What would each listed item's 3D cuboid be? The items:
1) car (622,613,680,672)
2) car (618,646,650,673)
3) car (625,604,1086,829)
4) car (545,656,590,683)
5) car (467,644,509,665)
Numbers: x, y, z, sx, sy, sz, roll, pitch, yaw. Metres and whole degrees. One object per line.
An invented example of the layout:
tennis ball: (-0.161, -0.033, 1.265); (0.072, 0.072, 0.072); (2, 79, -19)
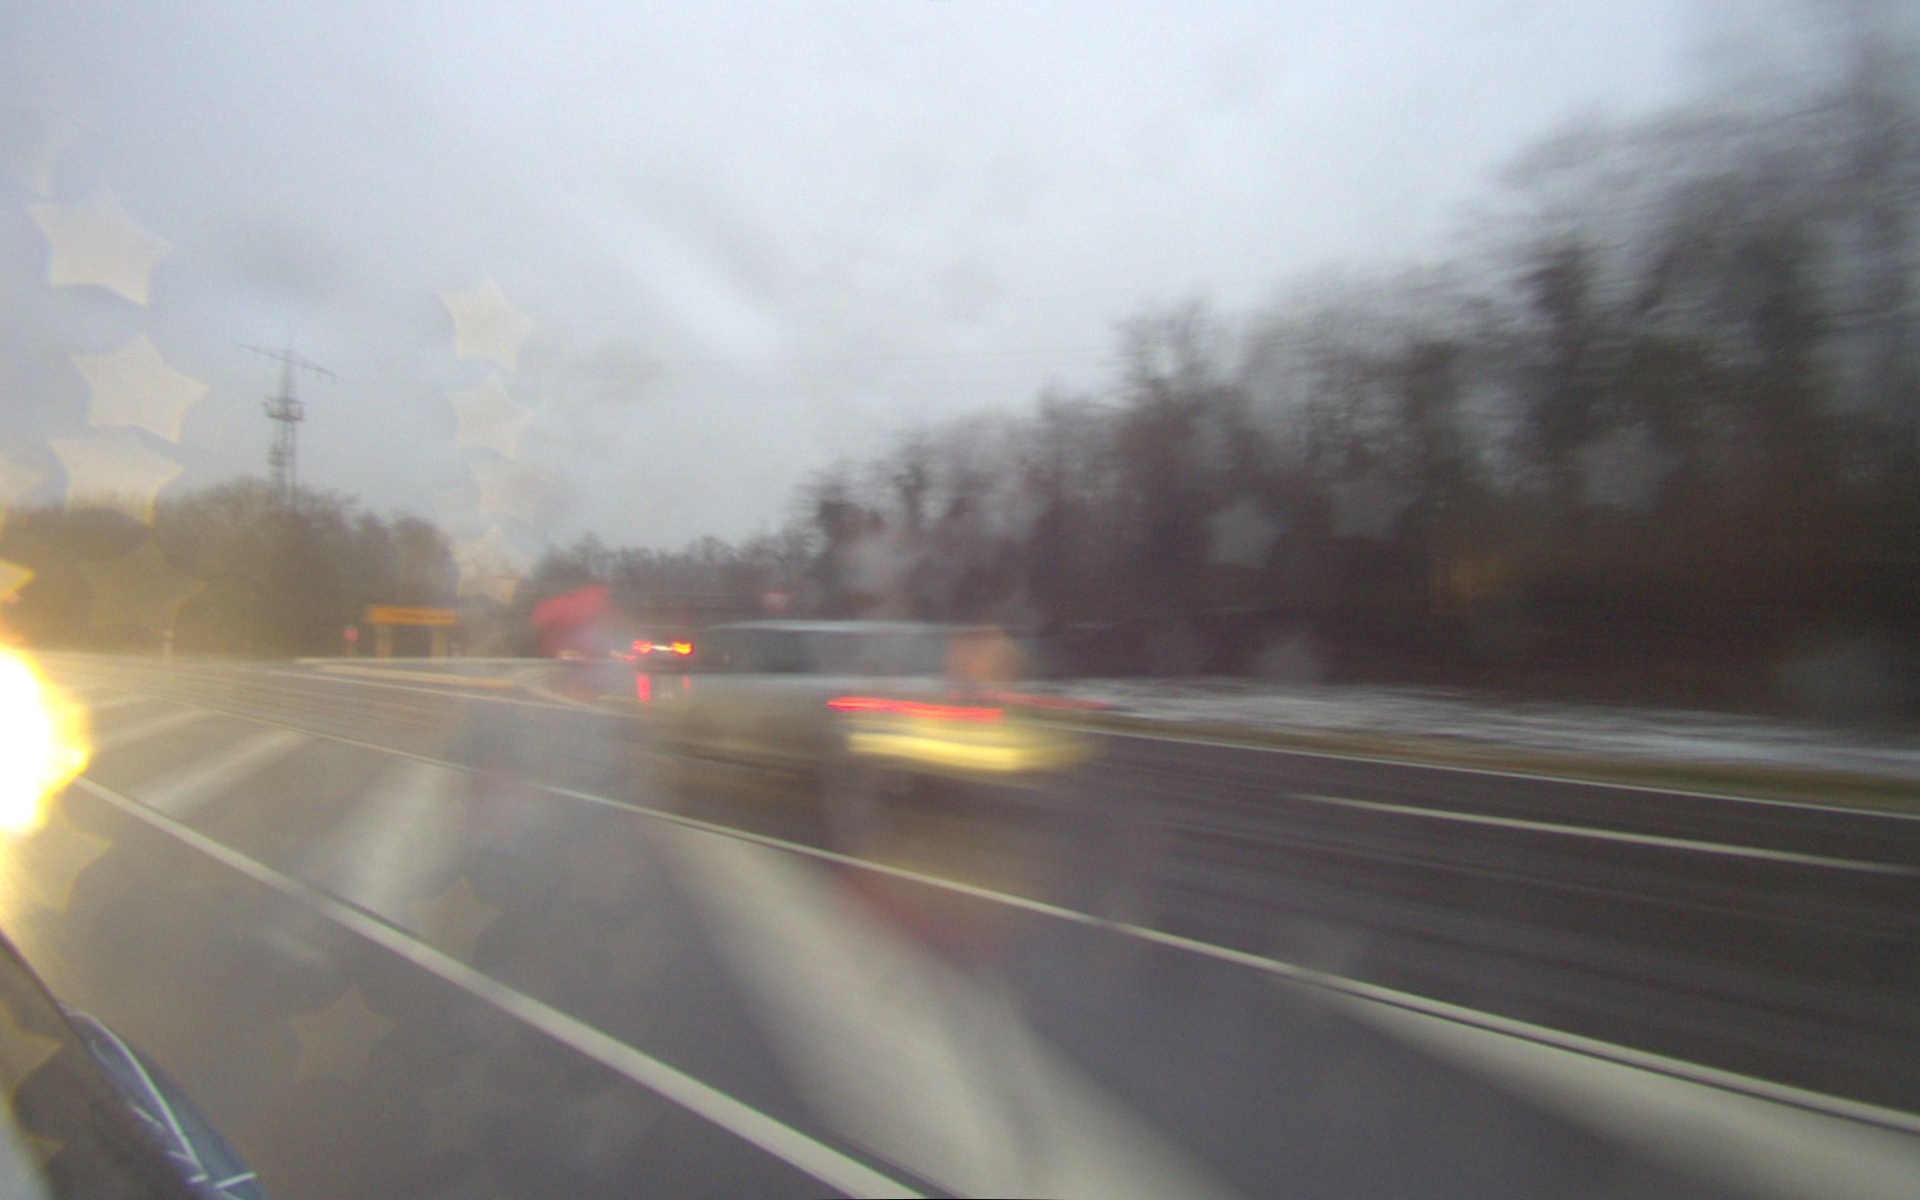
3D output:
car: (-11.497, 1.517, 37.486); (1.812, 1.984, 4.372); (-1, 0, -20)
car: (-25.588, 4.655, 79.381); (1.923, 1.769, 4.827); (-1, 1, -23)
car: (-1.138, 0.902, 9.101); (4.300, 1.535, 1.803); (-3, -4, 44)
car: (-31.649, 5.562, 81.506); (1.926, 1.769, 4.819); (-1, 1, -40)
car: (-44.916, 5.140, 96.243); (4.811, 1.769, 1.929); (0, 1, 43)
